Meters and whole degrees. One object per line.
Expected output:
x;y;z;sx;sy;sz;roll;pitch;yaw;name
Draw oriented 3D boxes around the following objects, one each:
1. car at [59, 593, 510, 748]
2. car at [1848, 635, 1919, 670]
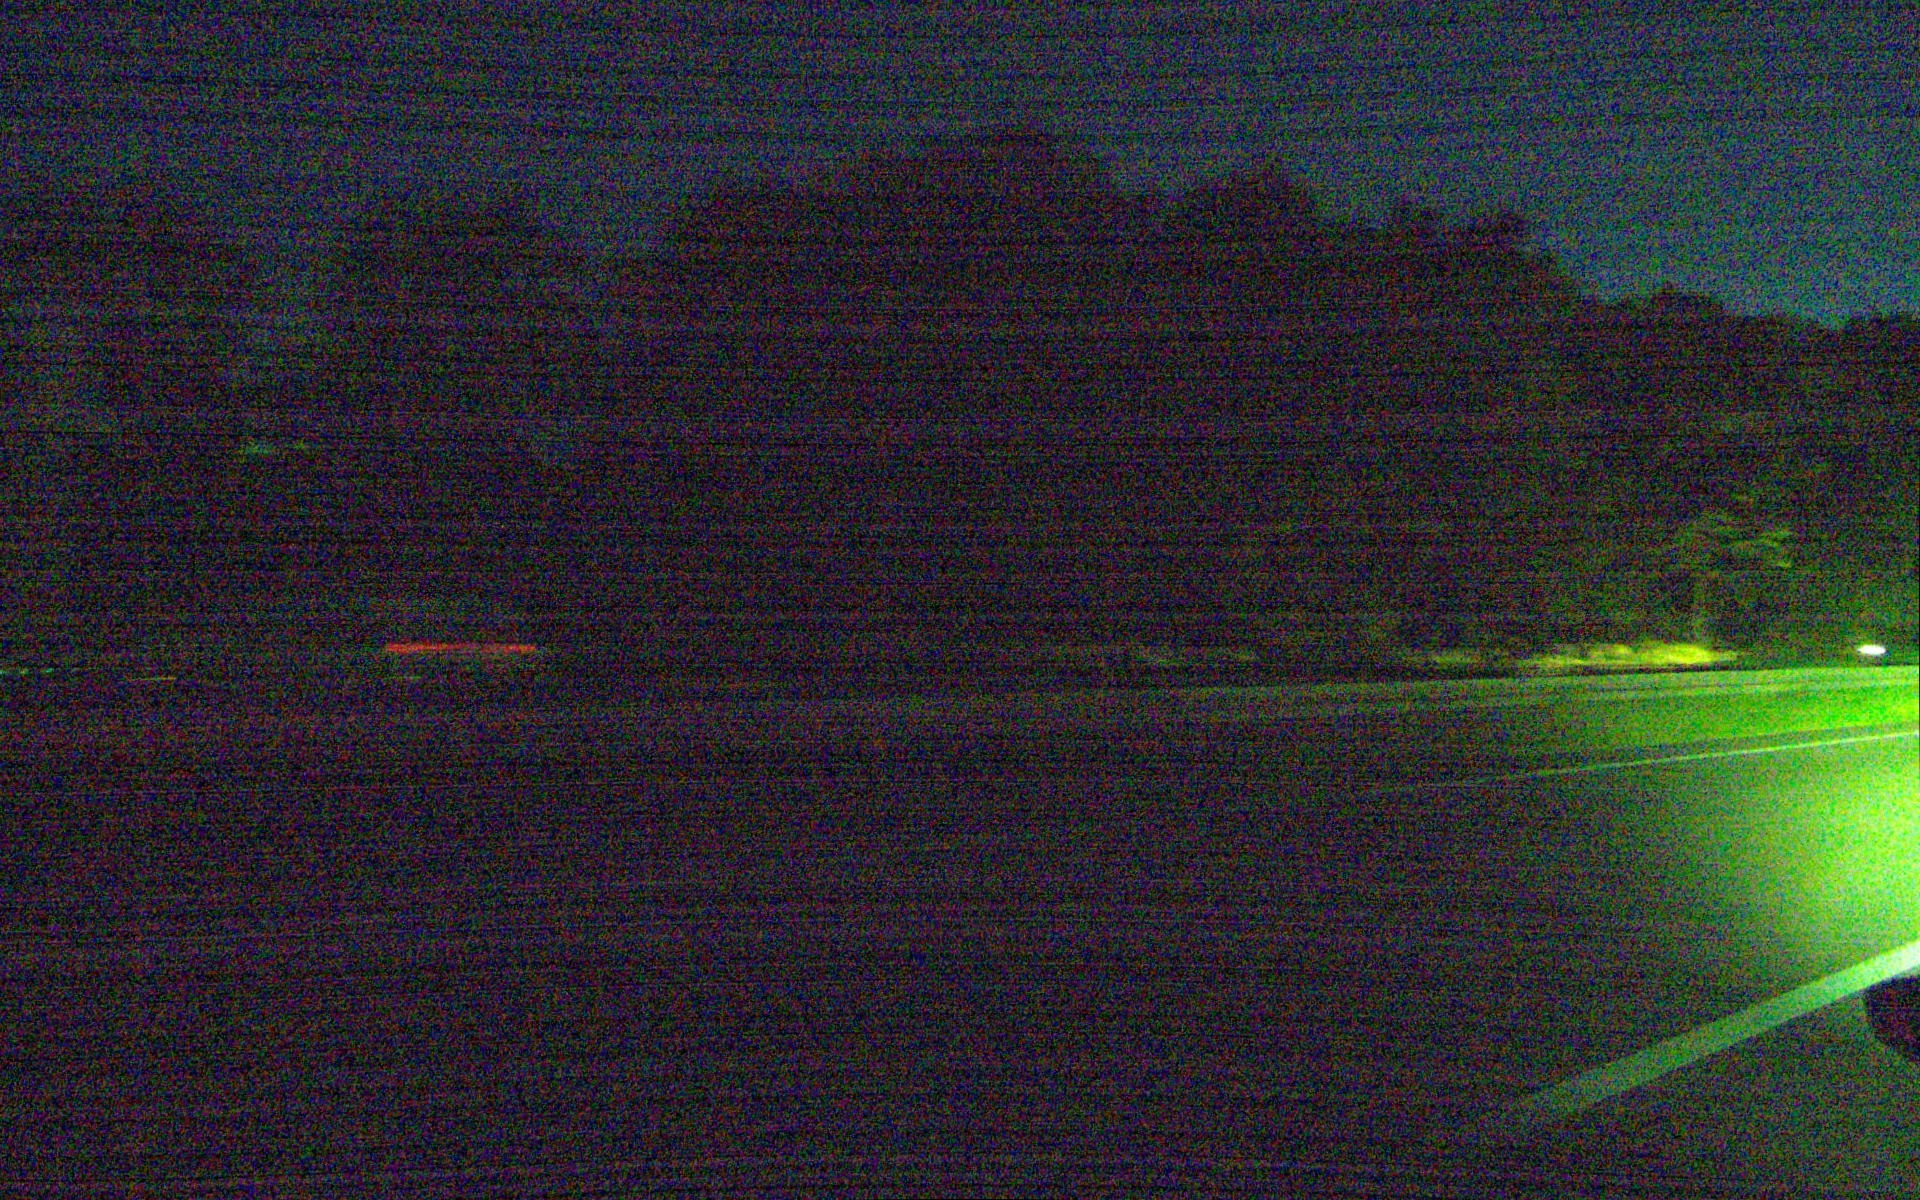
-8.421;0.842;12.983;4.487;1.679;1.982;2;-2;-34;car
41.056;2.288;43.749;4.411;1.461;1.818;1;-3;-23;car
